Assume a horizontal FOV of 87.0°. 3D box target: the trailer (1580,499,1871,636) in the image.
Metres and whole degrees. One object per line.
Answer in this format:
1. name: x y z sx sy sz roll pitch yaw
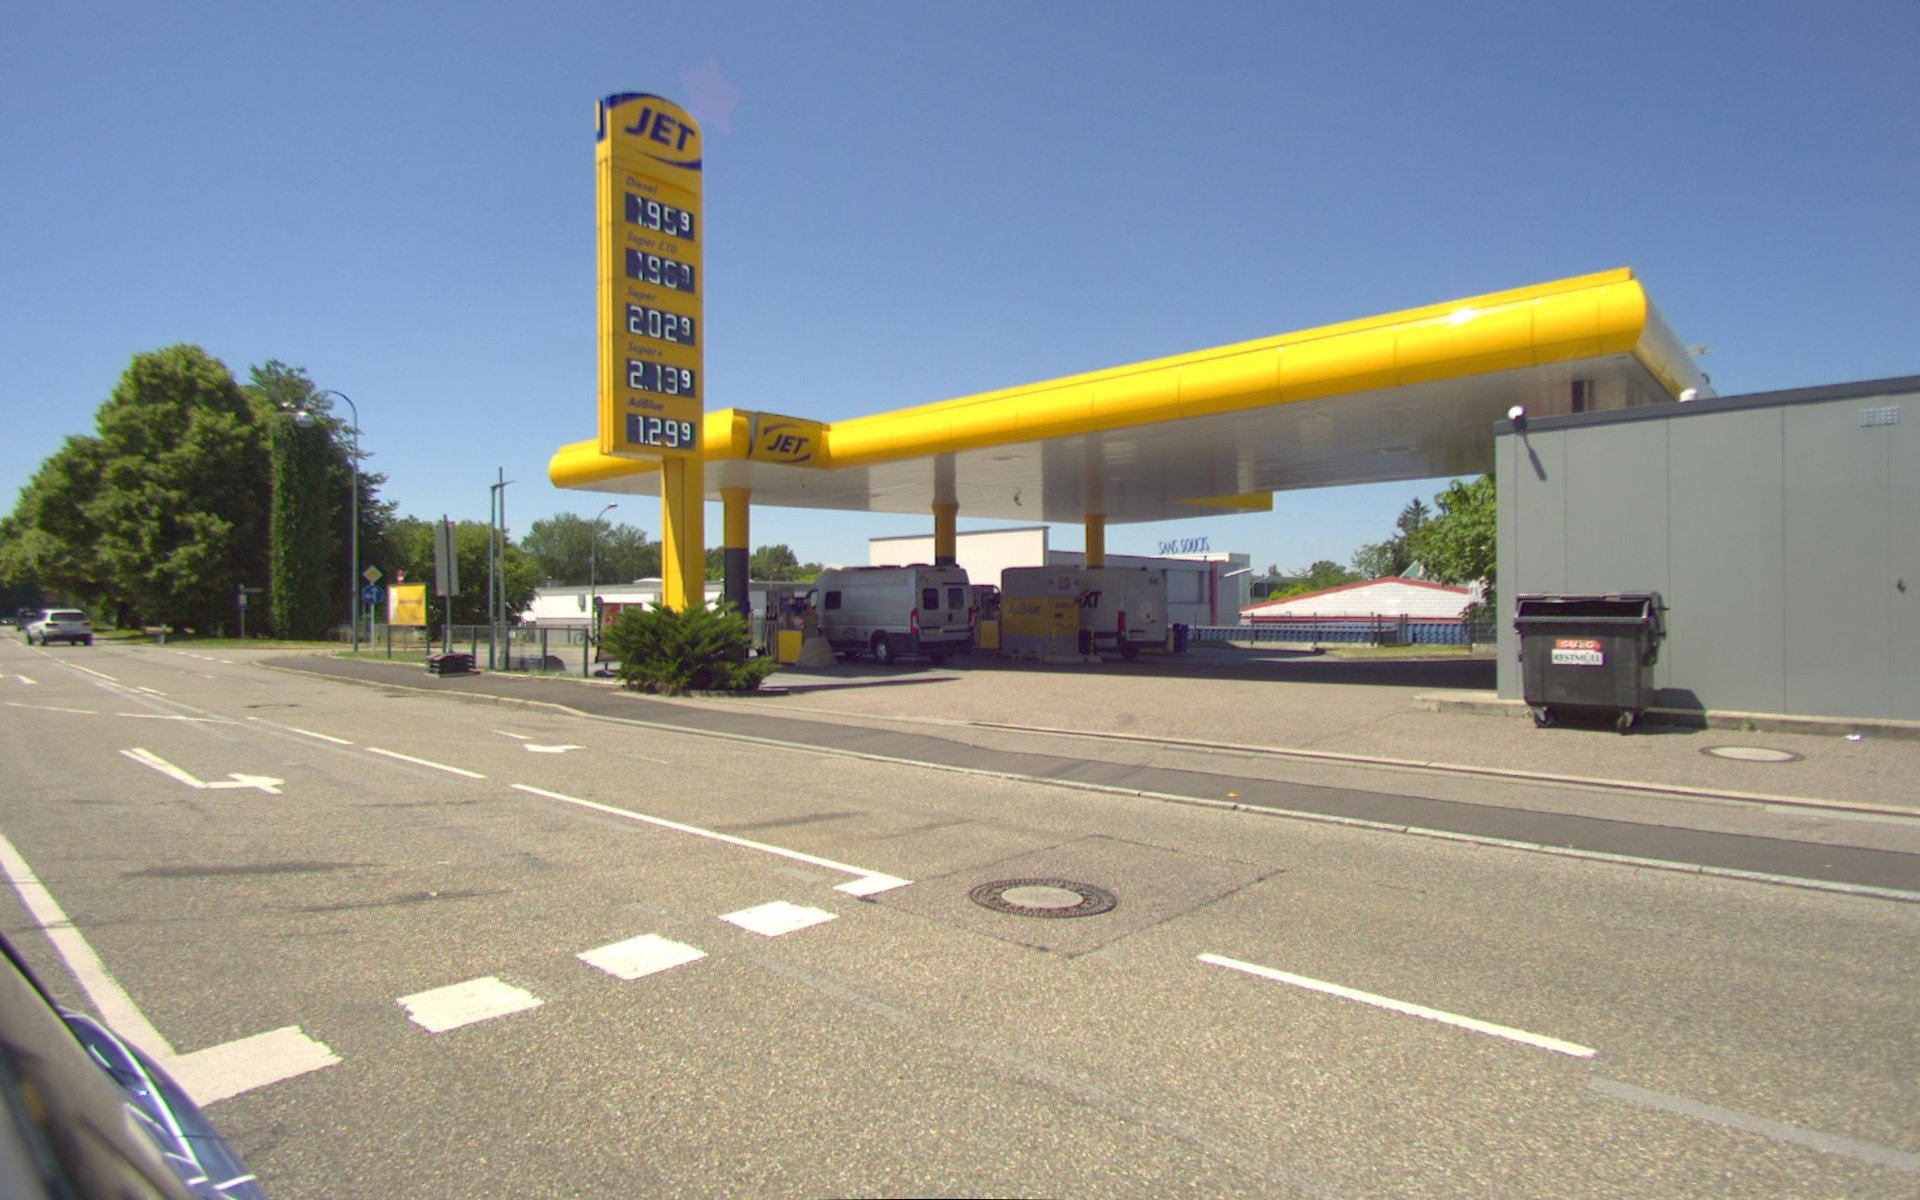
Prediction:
1. trailer: 19.962 -0.701 26.661 5.911 3.244 1.845 -1 -2 41

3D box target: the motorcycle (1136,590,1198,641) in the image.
1. motorcycle: 6.908 0.521 33.853 0.704 1.653 2.058 1 -1 -39

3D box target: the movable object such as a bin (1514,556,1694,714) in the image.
1. movable object such as a bin: 6.835 0.352 10.756 1.427 1.528 0.942 -2 2 42

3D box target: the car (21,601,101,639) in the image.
1. car: -41.556 0.931 46.764 4.241 1.685 1.950 -1 -2 37

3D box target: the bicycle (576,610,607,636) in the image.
1. bicycle: -20.255 1.276 55.681 1.517 1.359 0.395 2 -2 -39

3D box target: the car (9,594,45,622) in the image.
1. car: -73.388 0.654 79.600 4.366 1.786 1.775 -5 -8 44

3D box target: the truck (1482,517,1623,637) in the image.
1. truck: 17.071 -0.582 29.216 3.188 3.267 1.826 -2 -2 41

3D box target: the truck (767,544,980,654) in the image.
1. truck: -2.534 0.008 27.506 2.206 2.618 6.741 1 -1 -41

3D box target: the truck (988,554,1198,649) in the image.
1. truck: 3.920 0.086 31.433 2.877 2.618 6.619 1 -1 -33
